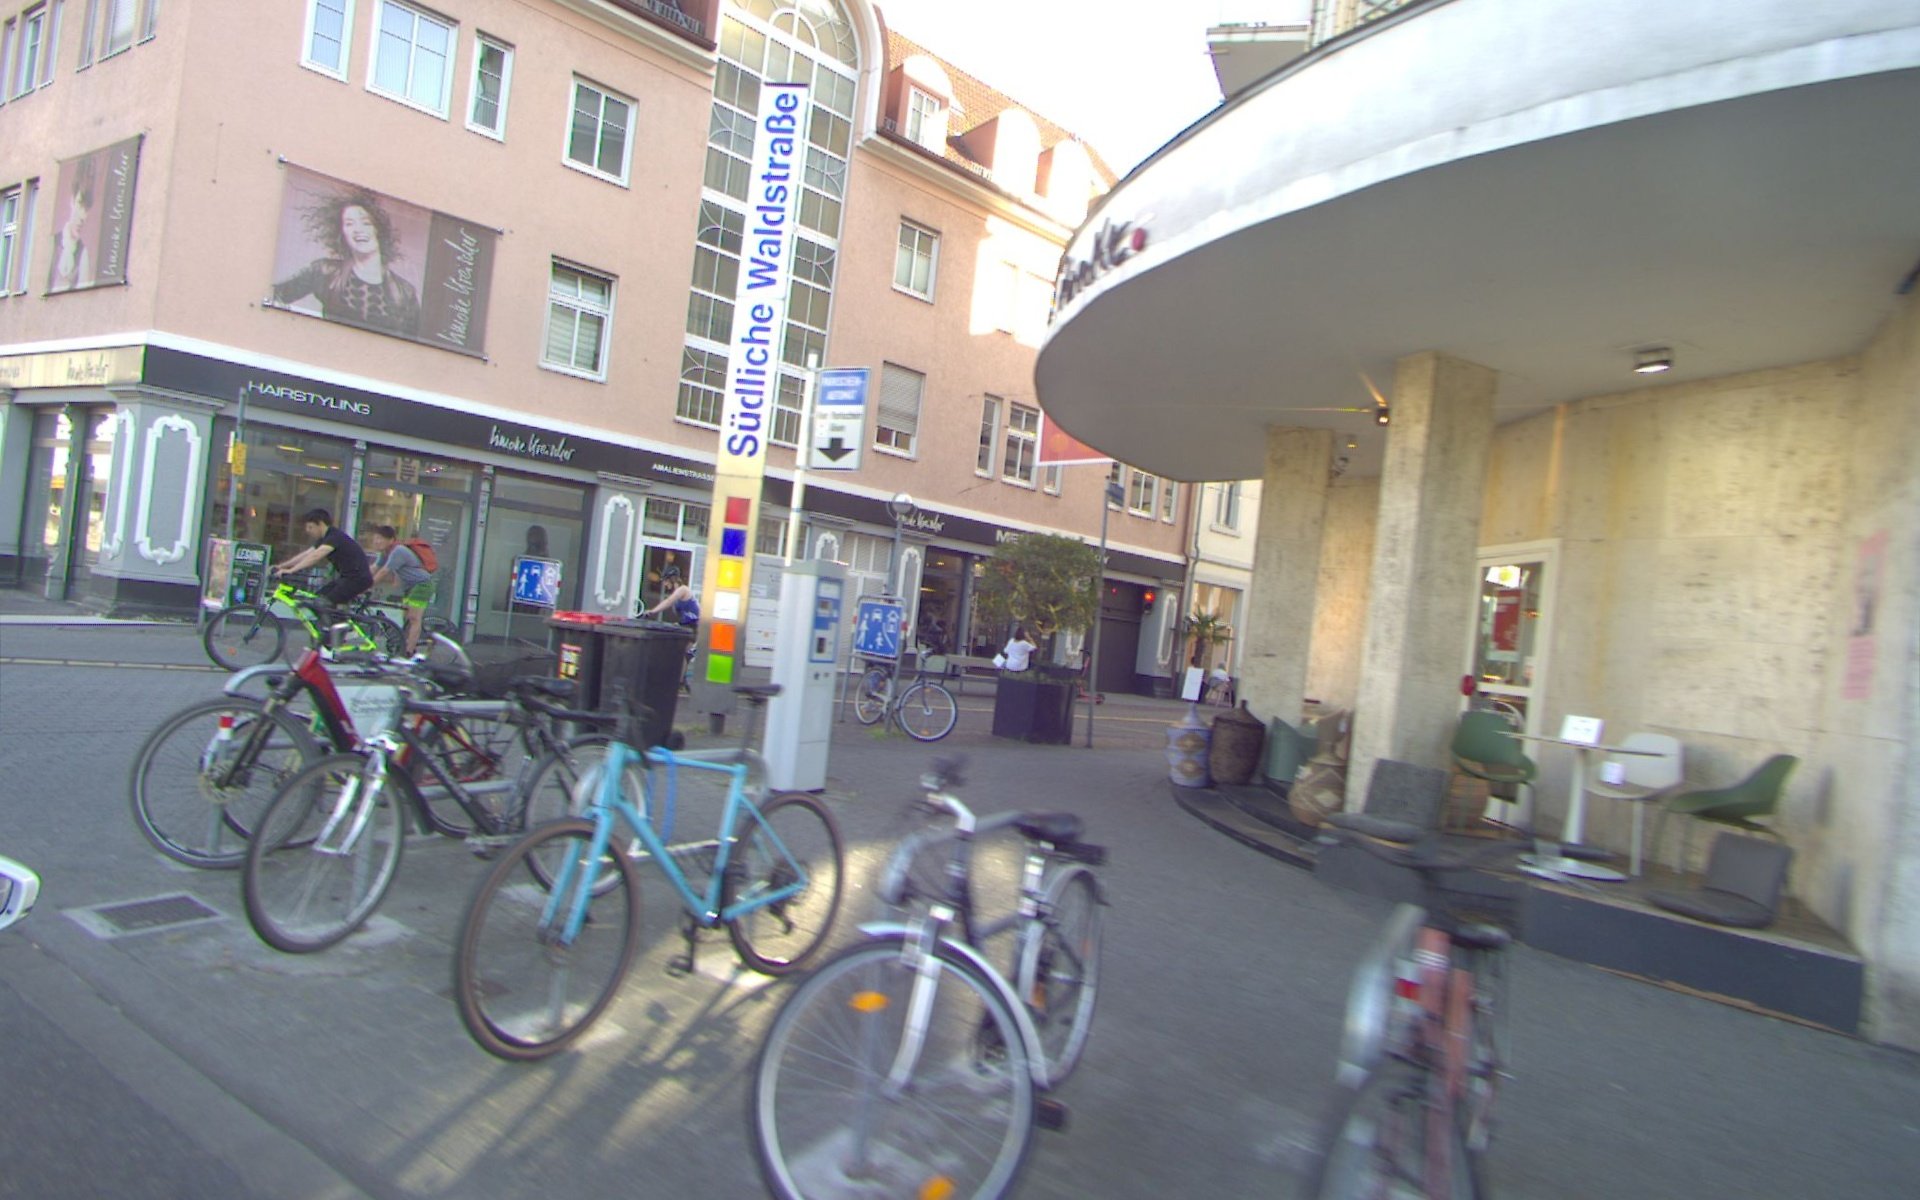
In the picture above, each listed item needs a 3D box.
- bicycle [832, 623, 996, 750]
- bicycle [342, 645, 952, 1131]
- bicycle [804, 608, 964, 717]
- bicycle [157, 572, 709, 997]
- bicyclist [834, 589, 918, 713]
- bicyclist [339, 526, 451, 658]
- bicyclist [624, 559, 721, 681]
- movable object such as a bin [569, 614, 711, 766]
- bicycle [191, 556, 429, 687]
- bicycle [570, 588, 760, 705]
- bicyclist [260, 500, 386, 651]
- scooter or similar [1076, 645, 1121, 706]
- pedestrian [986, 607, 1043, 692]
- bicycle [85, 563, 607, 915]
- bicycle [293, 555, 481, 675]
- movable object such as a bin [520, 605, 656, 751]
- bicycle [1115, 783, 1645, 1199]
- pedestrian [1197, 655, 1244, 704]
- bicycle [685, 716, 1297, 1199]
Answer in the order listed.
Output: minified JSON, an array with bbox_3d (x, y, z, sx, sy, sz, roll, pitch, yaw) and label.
[{"bbox_3d":[-0.600,0.989,11.977,0.656,1.213,2.187,7,-1,-39],"label":"bicycle"},{"bbox_3d":[-0.934,0.820,3.475,0.770,1.137,1.798,7,-1,37],"label":"bicycle"},{"bbox_3d":[-1.067,0.908,14.419,2.122,1.331,0.580,8,-1,-30],"label":"bicycle"},{"bbox_3d":[-2.007,0.628,4.087,0.768,1.283,1.746,7,1,34],"label":"bicycle"},{"bbox_3d":[-1.195,0.719,14.275,0.828,1.644,0.569,8,-1,-30],"label":"bicyclist"},{"bbox_3d":[-6.854,-0.098,12.208,0.942,1.467,0.797,7,0,-39],"label":"bicyclist"},{"bbox_3d":[-3.700,0.249,12.926,0.915,1.431,0.800,7,0,-28],"label":"bicyclist"},{"bbox_3d":[-2.584,0.730,8.153,0.617,1.105,0.754,6,-2,33],"label":"movable object such as a bin"},{"bbox_3d":[-6.796,0.247,10.577,1.958,1.163,0.782,7,0,-39],"label":"bicycle"},{"bbox_3d":[-3.767,0.609,12.907,2.154,1.237,0.676,8,-1,-27],"label":"bicycle"},{"bbox_3d":[-6.712,-0.250,10.597,0.919,1.431,0.797,7,0,-39],"label":"bicyclist"},{"bbox_3d":[3.122,1.706,22.739,0.868,1.260,0.390,7,0,6],"label":"scooter or similar"},{"bbox_3d":[1.062,0.970,19.636,0.687,1.570,0.748,6,-1,29],"label":"pedestrian"},{"bbox_3d":[-2.774,0.573,4.750,0.820,1.274,1.860,7,1,37],"label":"bicycle"},{"bbox_3d":[-6.904,0.198,12.177,1.786,1.237,0.673,8,-1,-40],"label":"bicycle"},{"bbox_3d":[-3.119,0.659,8.472,0.617,1.105,0.734,6,-2,33],"label":"movable object such as a bin"},{"bbox_3d":[1.122,1.186,2.436,0.681,1.208,1.885,8,1,37],"label":"bicycle"},{"bbox_3d":[7.380,2.255,28.471,0.713,1.266,1.142,7,-1,43],"label":"pedestrian"},{"bbox_3d":[0.212,1.047,2.833,0.778,1.284,1.721,7,1,37],"label":"bicycle"}]
